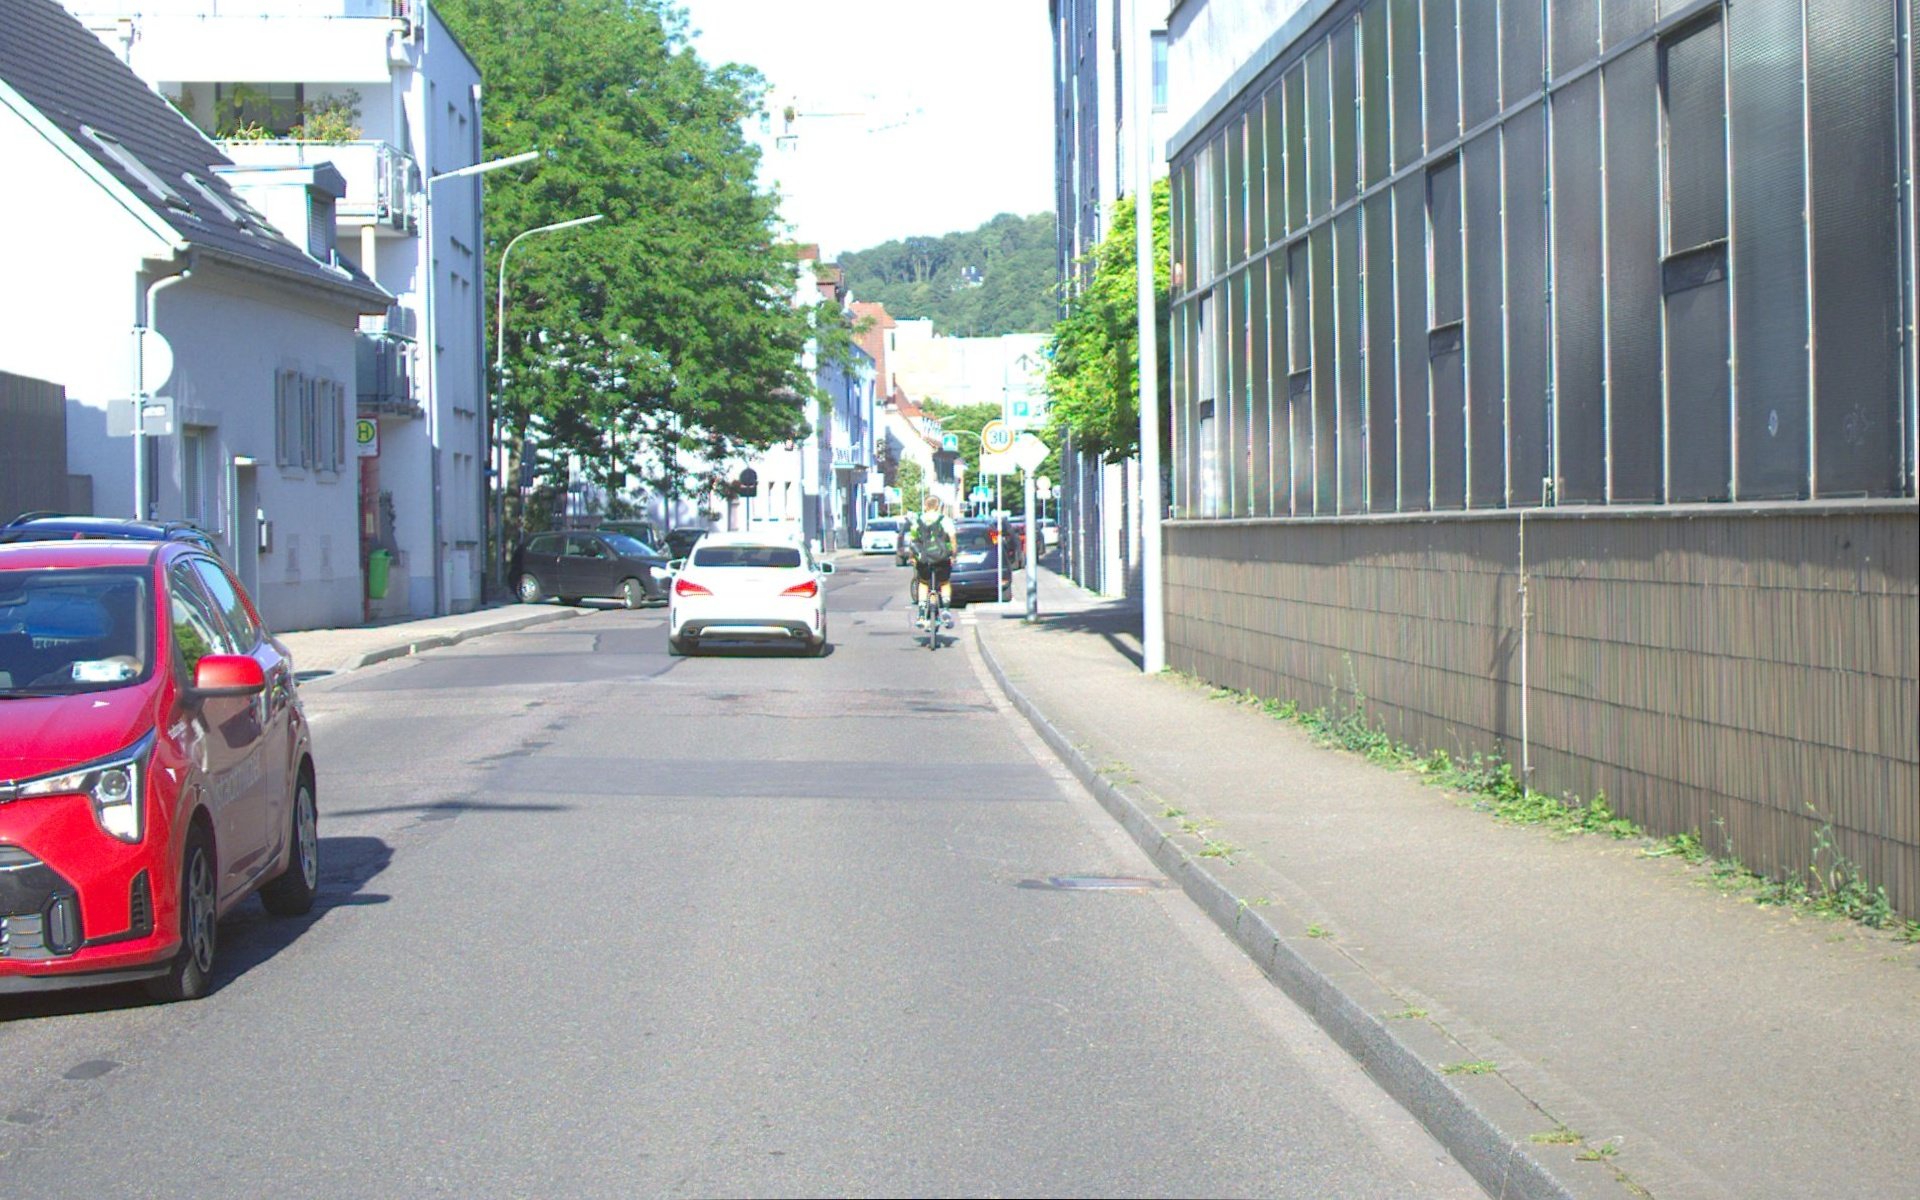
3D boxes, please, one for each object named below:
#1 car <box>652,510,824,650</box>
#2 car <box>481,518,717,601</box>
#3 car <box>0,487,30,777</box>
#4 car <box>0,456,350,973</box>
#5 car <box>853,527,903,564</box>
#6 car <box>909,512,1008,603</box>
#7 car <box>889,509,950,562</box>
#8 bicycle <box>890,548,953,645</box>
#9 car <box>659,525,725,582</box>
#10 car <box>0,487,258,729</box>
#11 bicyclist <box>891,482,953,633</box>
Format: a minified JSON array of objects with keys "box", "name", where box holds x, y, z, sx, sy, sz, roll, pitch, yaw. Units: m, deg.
[{"box":[-2.539,-0.236,39.890,1.842,1.486,4.145,2,0,-3],"name":"car"},{"box":[-6.972,-0.783,66.438,4.136,1.486,1.846,2,0,23],"name":"car"},{"box":[-6.100,0.182,16.975,1.857,1.581,4.336,3,2,-1],"name":"car"},{"box":[-3.374,0.318,12.034,1.842,1.486,4.145,-3,1,-2],"name":"car"},{"box":[-3.695,-2.456,155.176,1.945,1.581,4.621,-2,1,2],"name":"car"},{"box":[-0.059,-0.785,63.620,1.629,1.581,4.070,-2,1,-2],"name":"car"},{"box":[-1.437,-2.266,121.138,1.853,1.785,4.608,1,1,-4],"name":"car"},{"box":[-0.465,-0.049,41.623,0.698,1.126,2.403,2,0,-1],"name":"bicycle"},{"box":[-7.738,-1.344,99.398,1.704,1.570,3.914,2,1,-2],"name":"car"},{"box":[-6.617,-0.010,26.065,1.808,1.581,4.193,3,2,-2],"name":"car"},{"box":[-0.462,-0.514,41.627,0.698,1.784,1.041,2,0,-1],"name":"bicyclist"}]
